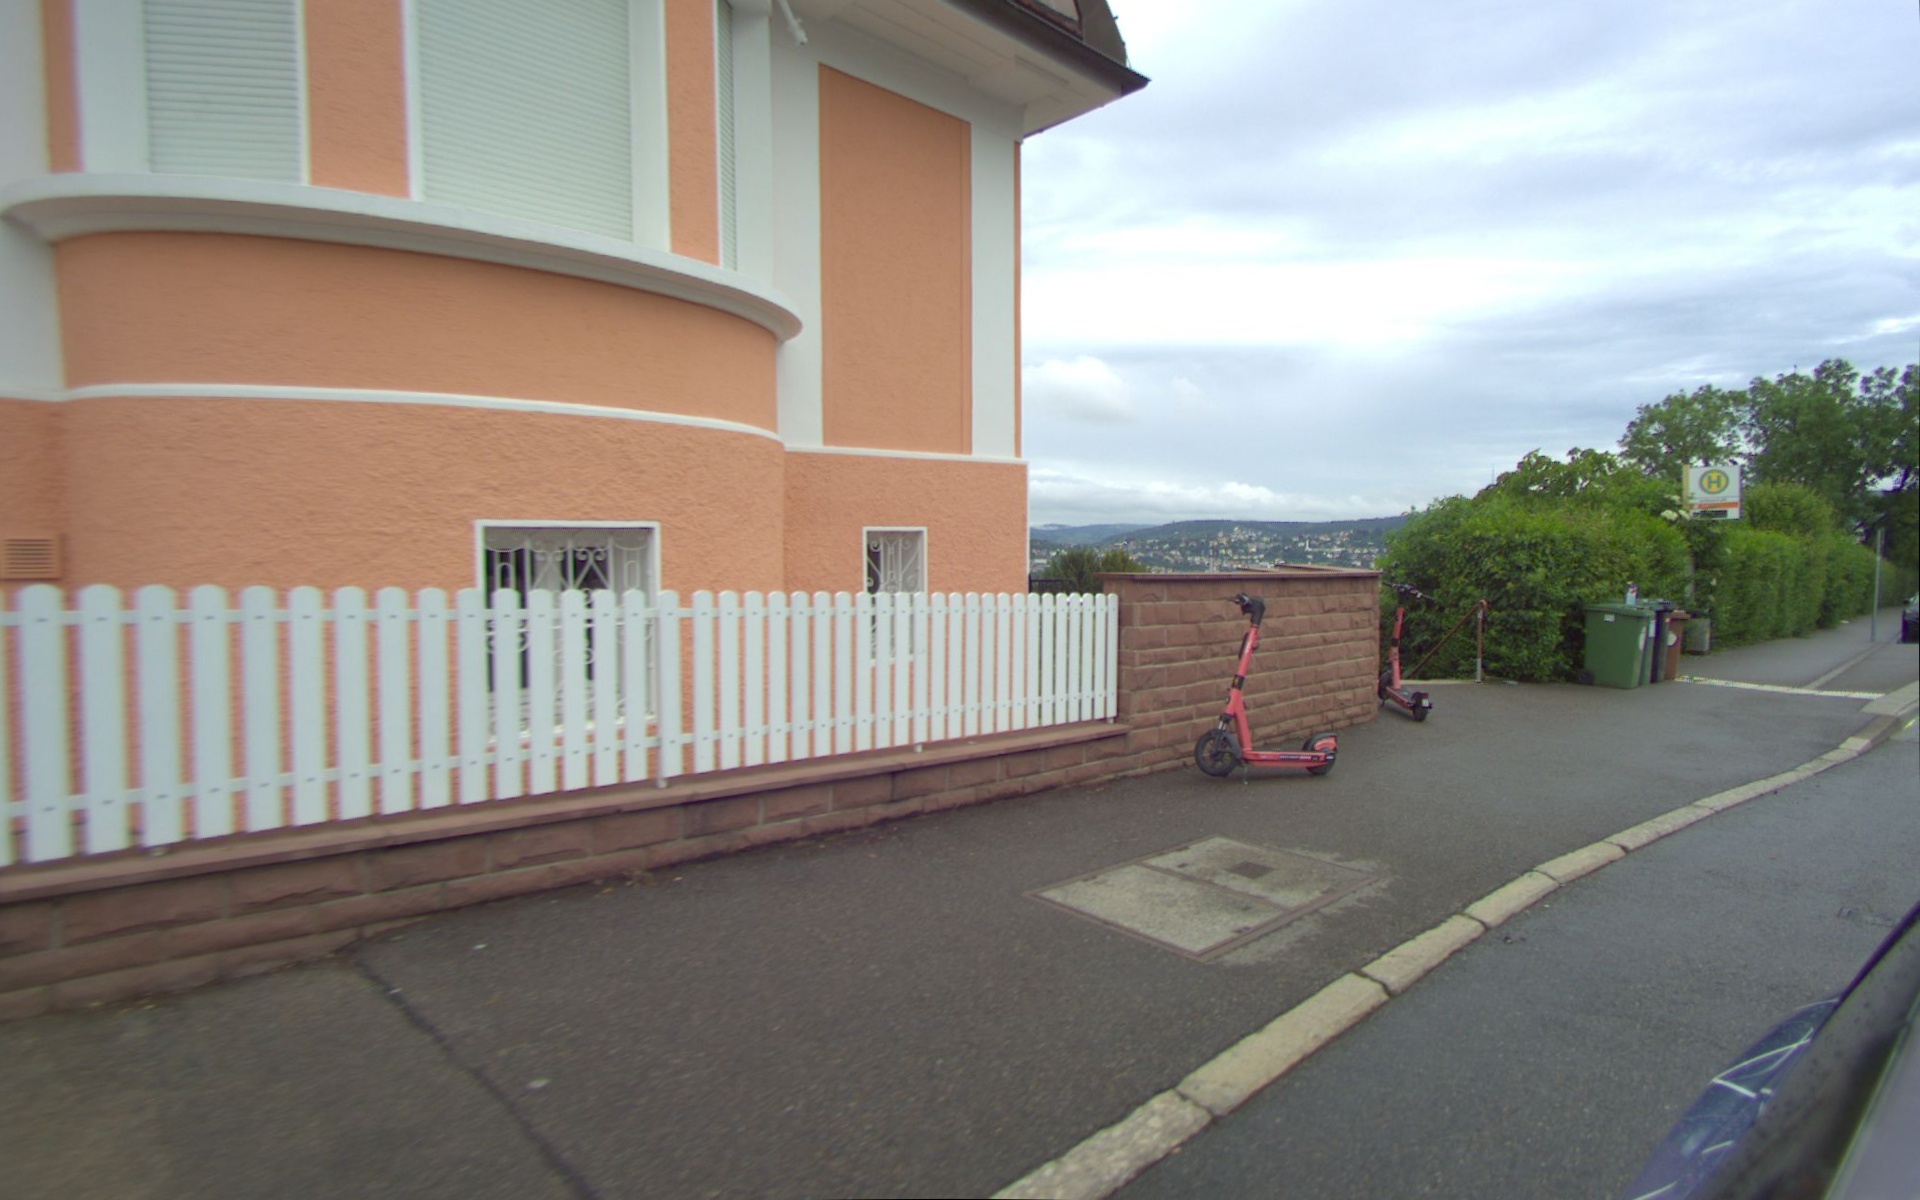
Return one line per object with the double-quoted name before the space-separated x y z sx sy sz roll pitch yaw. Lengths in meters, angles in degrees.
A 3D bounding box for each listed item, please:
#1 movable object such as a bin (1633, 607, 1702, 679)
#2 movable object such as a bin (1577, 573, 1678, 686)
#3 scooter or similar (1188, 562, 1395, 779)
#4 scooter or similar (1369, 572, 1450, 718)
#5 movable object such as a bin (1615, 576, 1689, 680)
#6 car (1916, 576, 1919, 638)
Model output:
"movable object such as a bin" 9.250 0.546 13.237 0.579 0.874 0.613 -1 1 -40
"movable object such as a bin" 8.122 0.329 12.315 0.901 1.260 0.727 -1 5 -40
"scooter or similar" 2.309 0.449 7.030 1.447 1.420 0.357 -1 1 -20
"scooter or similar" 4.349 0.390 9.851 0.350 1.287 1.292 0 3 7
"movable object such as a bin" 8.759 0.335 12.811 0.672 1.261 0.613 -1 1 -40
"car" 26.675 0.161 26.721 3.935 1.606 1.925 -2 2 -44
